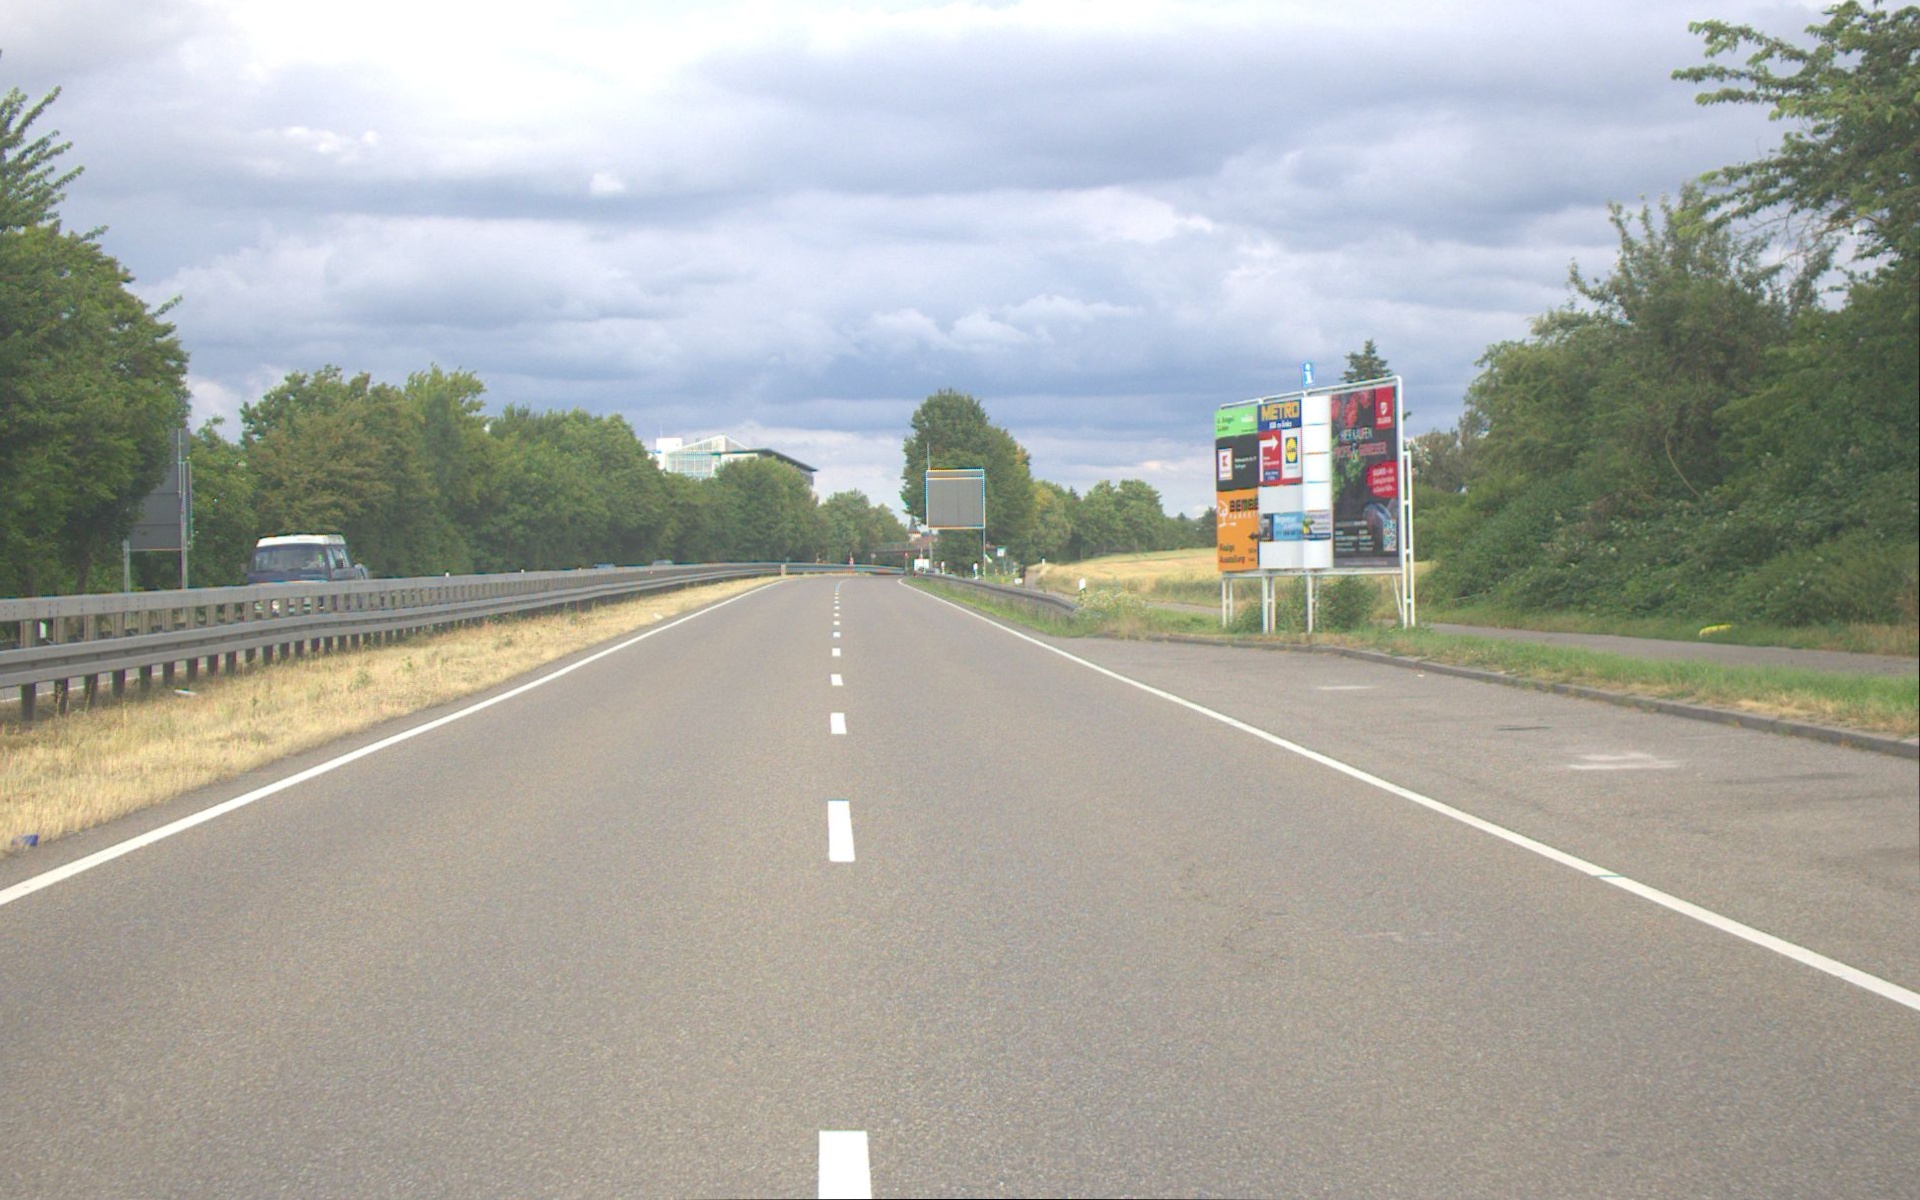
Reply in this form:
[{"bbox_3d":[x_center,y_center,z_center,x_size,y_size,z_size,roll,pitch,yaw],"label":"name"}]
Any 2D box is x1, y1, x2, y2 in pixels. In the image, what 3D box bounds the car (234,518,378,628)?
[{"bbox_3d":[-13.656,-0.591,72.093,1.993,2.133,5.319,-2,1,-1],"label":"car"}]
